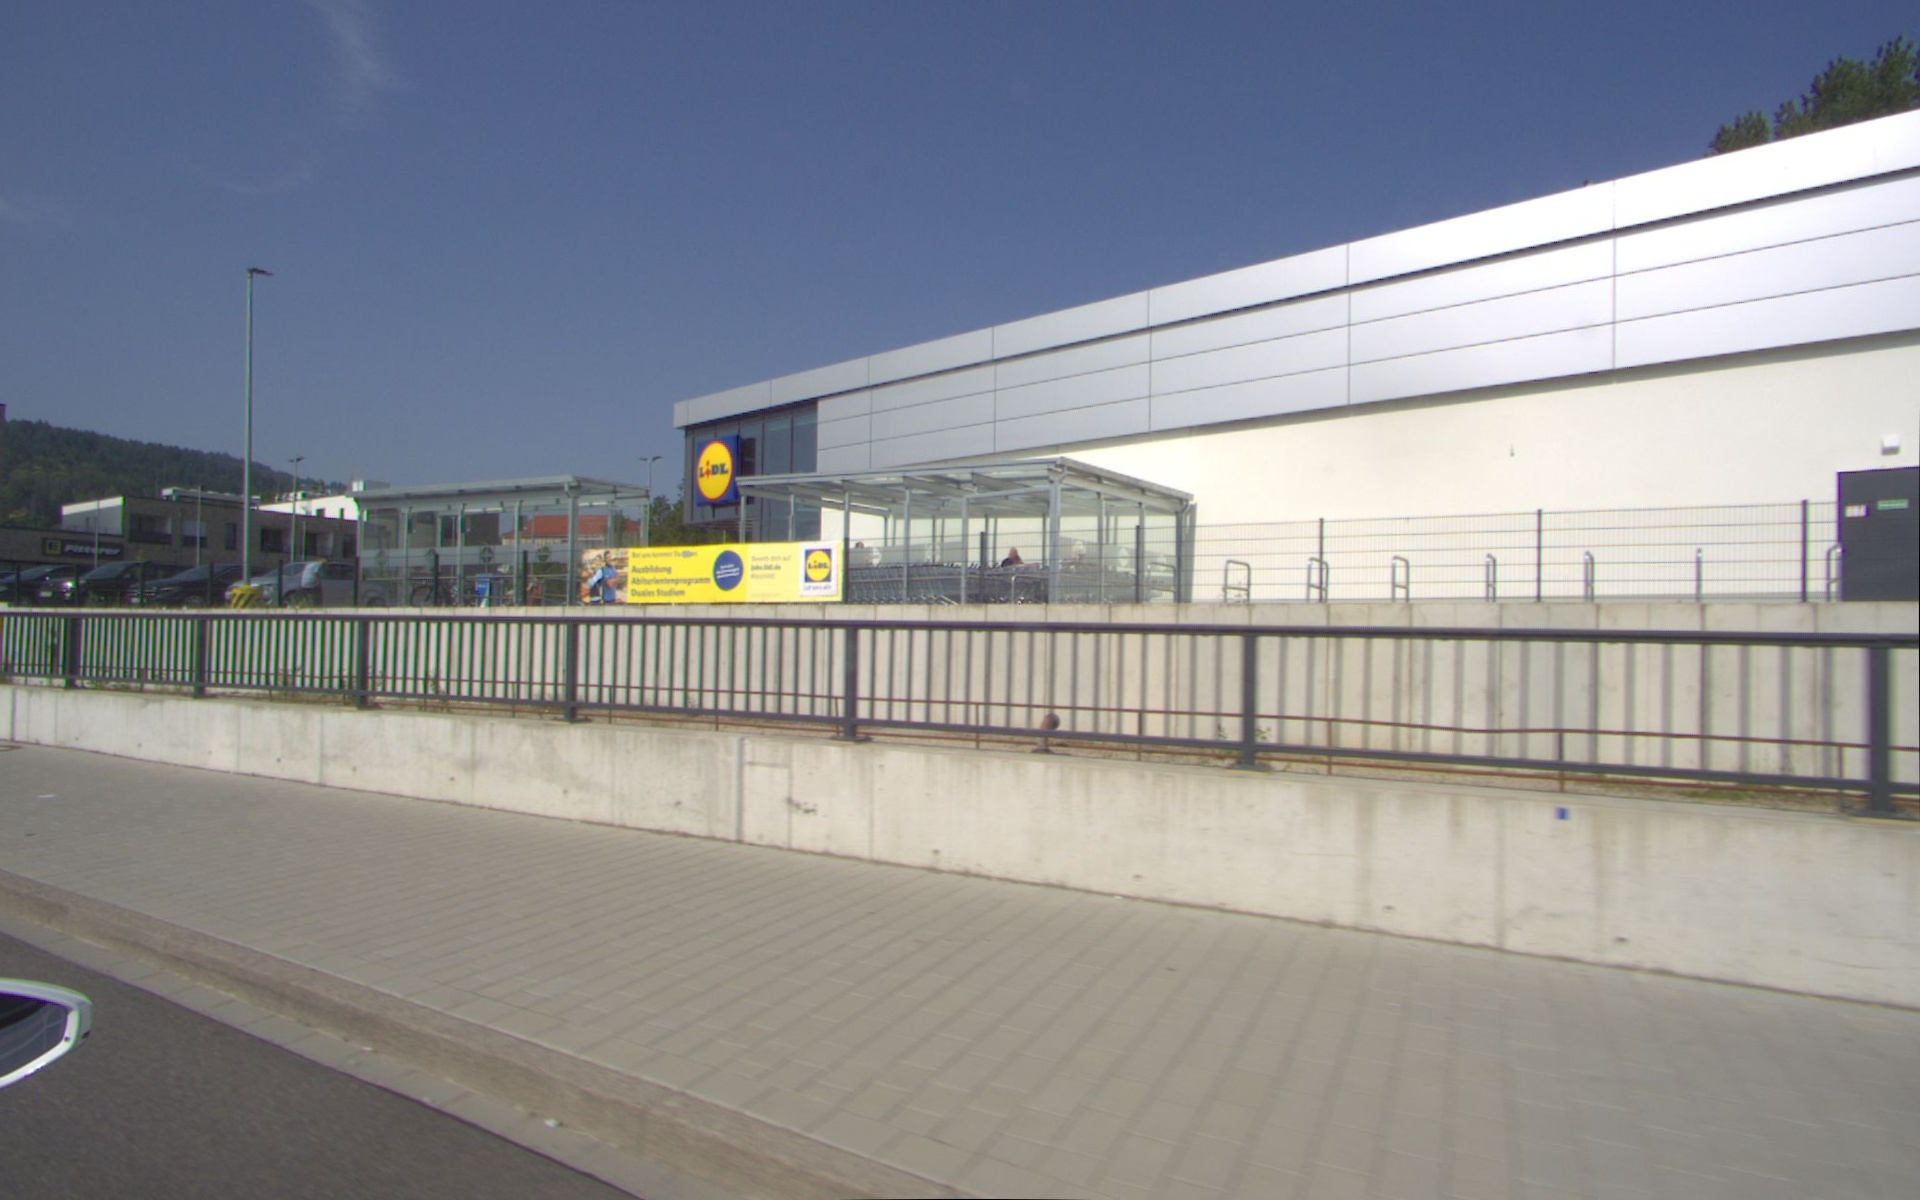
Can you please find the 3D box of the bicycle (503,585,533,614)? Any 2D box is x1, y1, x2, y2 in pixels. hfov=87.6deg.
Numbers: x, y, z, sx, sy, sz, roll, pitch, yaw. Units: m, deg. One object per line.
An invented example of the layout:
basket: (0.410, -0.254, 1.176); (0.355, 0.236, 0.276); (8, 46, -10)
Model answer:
bicycle: (-13.901, -0.006, 31.522); (0.666, 0.912, 0.534); (0, -1, 14)

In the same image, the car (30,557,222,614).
car: (-24.278, -0.384, 29.328); (1.694, 1.422, 4.014); (1, -2, 18)

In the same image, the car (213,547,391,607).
car: (-17.677, -0.570, 27.119); (1.650, 1.381, 3.814); (1, -2, 18)

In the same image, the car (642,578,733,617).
car: (-12.124, -0.080, 44.534); (3.643, 1.673, 1.620); (0, -1, 21)

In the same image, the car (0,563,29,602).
car: (-32.905, -0.653, 32.029); (1.634, 1.261, 4.288); (1, -2, 18)

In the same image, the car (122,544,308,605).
car: (-20.799, -0.658, 28.176); (1.459, 1.422, 4.070); (1, -2, 18)

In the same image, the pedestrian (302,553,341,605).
pedestrian: (-16.680, -0.530, 26.164); (0.645, 1.329, 0.548); (0, -1, 20)

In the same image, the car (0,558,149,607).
car: (-27.493, -0.504, 30.383); (1.713, 1.261, 4.222); (1, -2, 18)

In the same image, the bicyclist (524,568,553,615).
bicyclist: (-13.213, -0.253, 31.364); (0.710, 1.441, 0.431); (0, -1, 13)

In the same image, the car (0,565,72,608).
car: (-30.370, -0.467, 31.004); (1.699, 1.261, 3.975); (1, -2, 18)
